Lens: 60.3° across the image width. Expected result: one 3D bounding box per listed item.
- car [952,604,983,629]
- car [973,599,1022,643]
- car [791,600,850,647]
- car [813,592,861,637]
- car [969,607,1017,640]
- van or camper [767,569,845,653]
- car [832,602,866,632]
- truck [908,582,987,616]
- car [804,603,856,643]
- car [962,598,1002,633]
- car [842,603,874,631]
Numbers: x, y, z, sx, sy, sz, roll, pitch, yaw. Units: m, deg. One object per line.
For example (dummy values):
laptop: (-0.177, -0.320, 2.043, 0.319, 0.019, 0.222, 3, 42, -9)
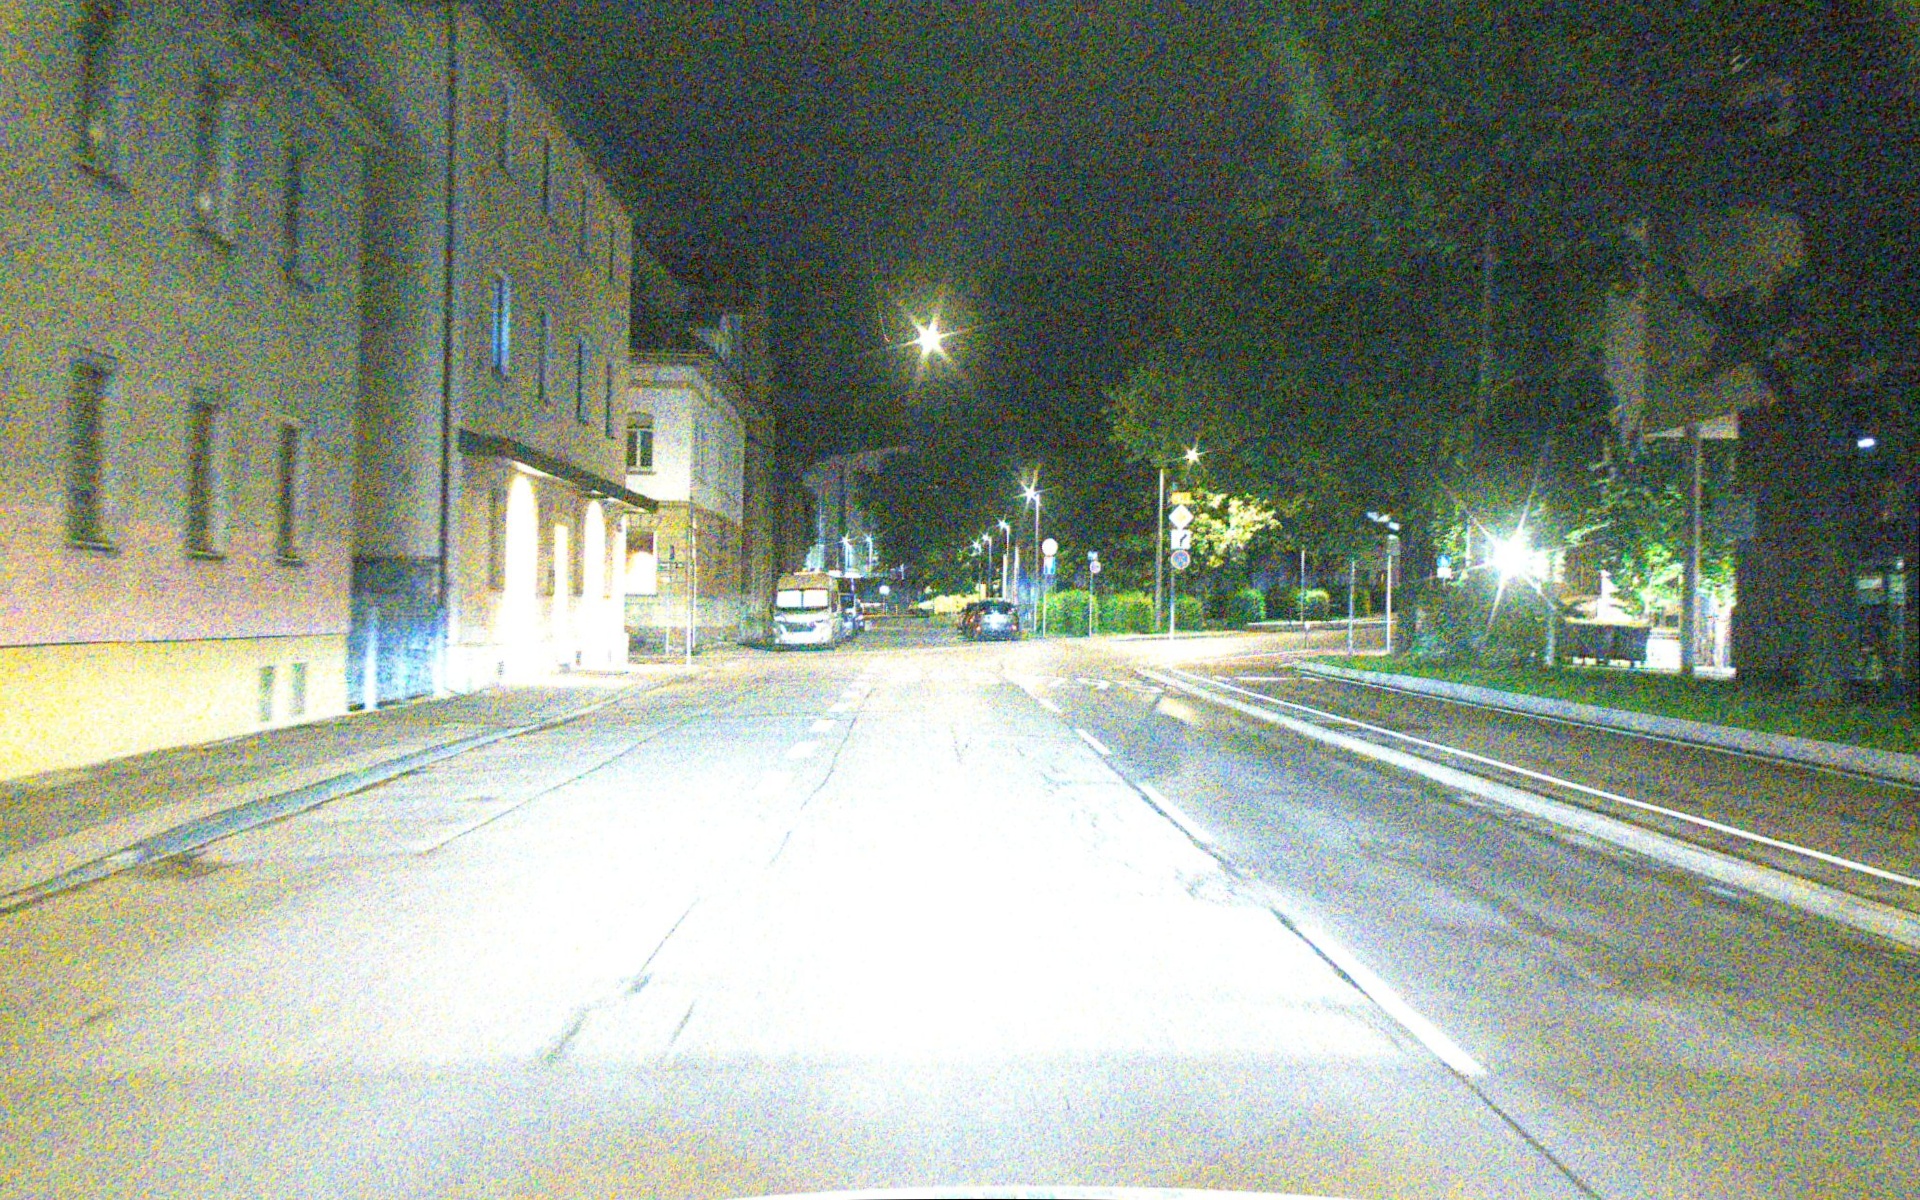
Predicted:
car: (0.423, 1.001, 100.155, 1.722, 1.470, 4.024, 0, 0, -2)
car: (1.489, 0.828, 66.053, 1.845, 1.631, 4.107, -1, -1, 1)
car: (-5.084, 0.850, 60.877, 1.853, 1.618, 4.373, -1, 0, -1)
car: (-5.657, 0.664, 76.518, 1.953, 1.989, 4.804, 0, 0, -1)
car: (1.399, 1.016, 71.276, 1.923, 1.407, 3.999, 0, -1, -1)
van or camper: (-5.092, 0.364, 55.445, 2.115, 2.580, 6.224, -2, 0, -2)
car: (-5.951, 0.918, 88.828, 1.670, 1.536, 4.098, 1, -1, -2)
truck: (-1.101, -0.075, 143.523, 6.642, 2.894, 1.998, 1, 0, -4)
car: (-5.256, 0.905, 66.435, 1.804, 1.533, 4.733, -1, 0, -8)
car: (1.162, 0.844, 88.955, 1.998, 1.724, 4.880, -2, -1, -1)
car: (-5.830, 0.970, 94.671, 1.643, 1.594, 4.103, 0, -1, -1)
